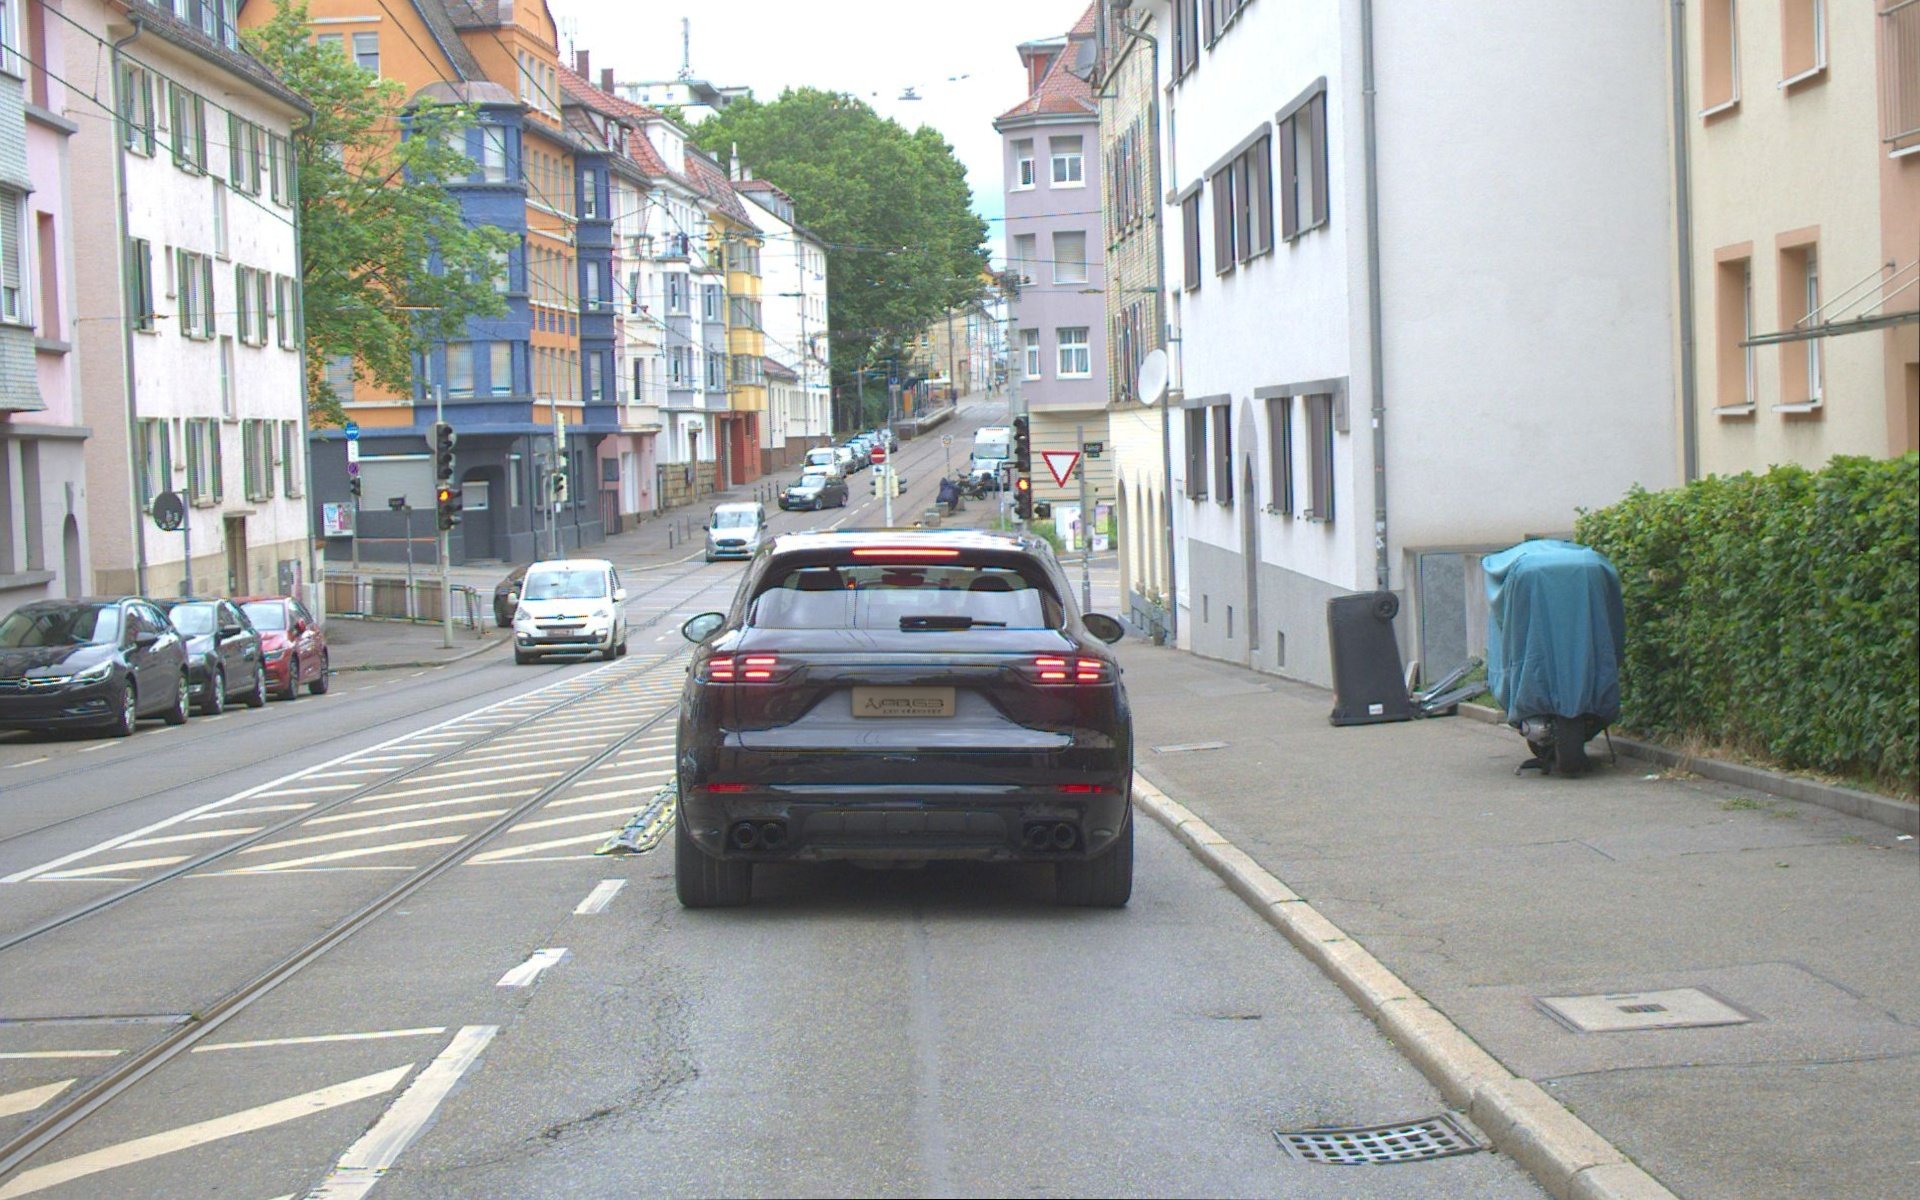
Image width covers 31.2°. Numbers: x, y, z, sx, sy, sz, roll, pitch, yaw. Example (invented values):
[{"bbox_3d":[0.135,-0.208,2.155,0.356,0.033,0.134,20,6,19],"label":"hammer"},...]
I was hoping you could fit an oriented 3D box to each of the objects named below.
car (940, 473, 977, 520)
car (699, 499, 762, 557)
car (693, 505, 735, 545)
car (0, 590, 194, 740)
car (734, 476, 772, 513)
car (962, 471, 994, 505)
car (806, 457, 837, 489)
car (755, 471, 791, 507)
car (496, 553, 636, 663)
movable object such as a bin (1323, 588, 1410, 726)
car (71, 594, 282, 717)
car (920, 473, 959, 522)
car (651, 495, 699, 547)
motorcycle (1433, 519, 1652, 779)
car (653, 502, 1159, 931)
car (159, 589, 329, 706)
[{"bbox_3d":[-0.075,-4.056,135.367,1.394,1.716,3.359,-2,0,0],"label":"car"},{"bbox_3d":[-7.520,-2.356,113.088,1.751,1.754,4.254,-2,0,0],"label":"car"},{"bbox_3d":[-9.642,-2.939,134.934,1.394,1.445,3.359,-2,0,0],"label":"car"},{"bbox_3d":[-9.514,0.695,37.023,1.620,1.468,4.556,-3,-1,-2],"label":"car"},{"bbox_3d":[-8.978,-4.562,149.292,1.394,1.445,3.359,-2,0,0],"label":"car"},{"bbox_3d":[0.829,-5.235,160.978,1.394,1.445,3.359,-2,0,0],"label":"car"},{"bbox_3d":[-6.942,-6.373,173.005,1.394,1.445,3.359,-2,0,0],"label":"car"},{"bbox_3d":[-8.468,-5.016,155.845,1.394,1.445,3.359,-2,0,0],"label":"car"},{"bbox_3d":[-6.932,0.139,60.841,1.921,1.812,4.217,-2,0,0],"label":"car"},{"bbox_3d":[3.262,0.453,27.634,0.588,1.076,0.691,-2,0,1],"label":"movable object such as a bin"},{"bbox_3d":[-9.764,0.663,43.109,1.736,1.405,4.000,-2,0,-1],"label":"car"},{"bbox_3d":[-0.771,-3.823,128.631,1.394,1.716,3.359,-2,0,0],"label":"car"},{"bbox_3d":[-10.114,-2.786,122.068,1.394,1.716,3.359,-2,0,0],"label":"car"},{"bbox_3d":[3.489,0.277,20.827,0.838,1.452,2.553,-2,0,0],"label":"motorcycle"},{"bbox_3d":[-0.262,0.472,15.953,1.993,1.670,4.000,-2,0,-1],"label":"car"},{"bbox_3d":[-9.945,0.659,48.001,1.620,1.485,4.047,-3,-1,-2],"label":"car"}]
